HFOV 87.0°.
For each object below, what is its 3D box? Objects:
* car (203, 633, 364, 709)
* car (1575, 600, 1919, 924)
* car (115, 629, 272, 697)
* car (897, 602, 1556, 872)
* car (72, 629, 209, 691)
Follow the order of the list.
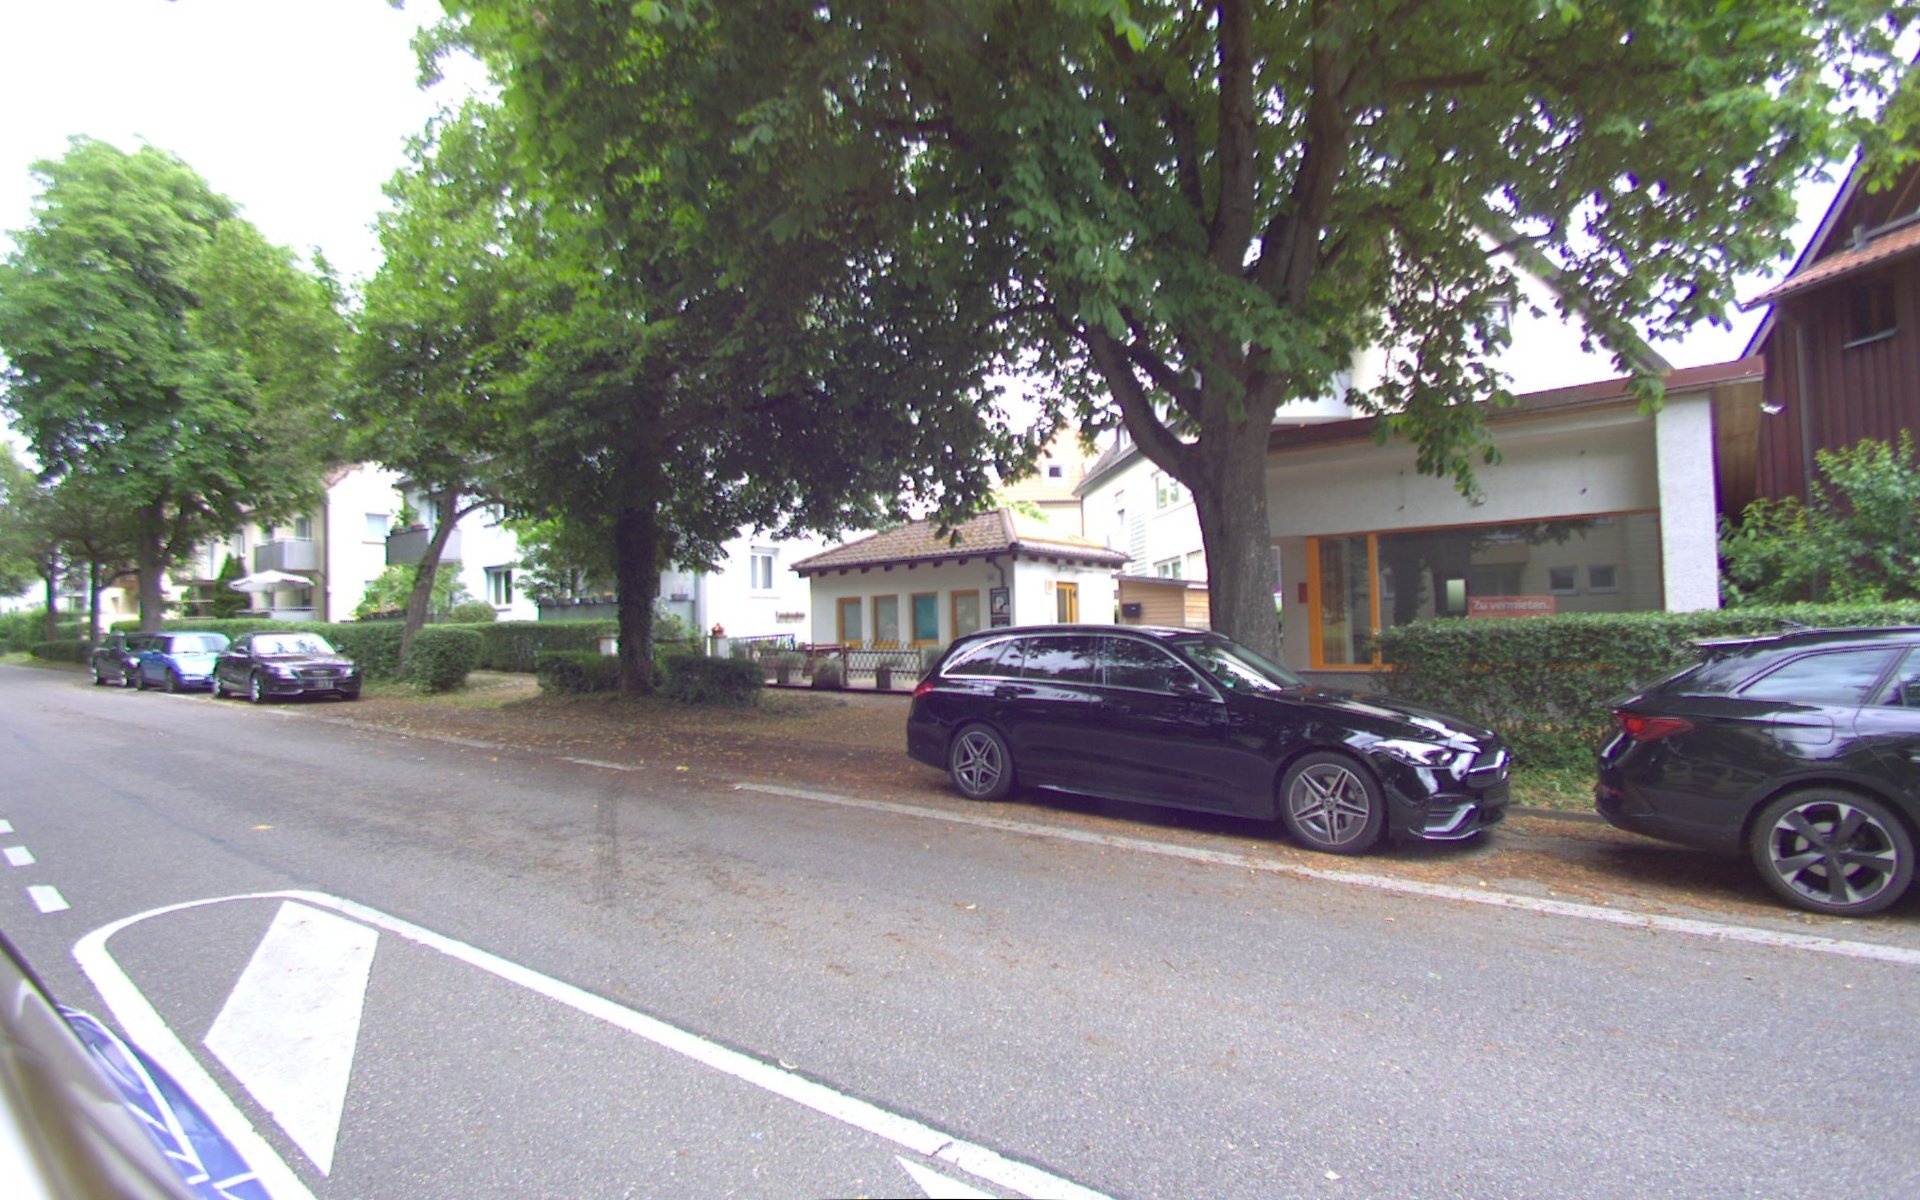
[{"bbox_3d":[-13.965,1.393,20.812,4.169,1.414,1.713,-2,-3,41],"label":"car"},{"bbox_3d":[5.667,0.745,4.787,4.536,1.497,1.674,-2,-3,38],"label":"car"},{"bbox_3d":[-18.664,1.486,24.571,4.558,1.512,1.866,-2,-3,37],"label":"car"},{"bbox_3d":[1.831,0.857,7.944,4.612,1.511,1.973,-2,-3,41],"label":"car"},{"bbox_3d":[-22.357,1.591,27.558,4.558,1.545,1.866,-2,-3,37],"label":"car"}]
